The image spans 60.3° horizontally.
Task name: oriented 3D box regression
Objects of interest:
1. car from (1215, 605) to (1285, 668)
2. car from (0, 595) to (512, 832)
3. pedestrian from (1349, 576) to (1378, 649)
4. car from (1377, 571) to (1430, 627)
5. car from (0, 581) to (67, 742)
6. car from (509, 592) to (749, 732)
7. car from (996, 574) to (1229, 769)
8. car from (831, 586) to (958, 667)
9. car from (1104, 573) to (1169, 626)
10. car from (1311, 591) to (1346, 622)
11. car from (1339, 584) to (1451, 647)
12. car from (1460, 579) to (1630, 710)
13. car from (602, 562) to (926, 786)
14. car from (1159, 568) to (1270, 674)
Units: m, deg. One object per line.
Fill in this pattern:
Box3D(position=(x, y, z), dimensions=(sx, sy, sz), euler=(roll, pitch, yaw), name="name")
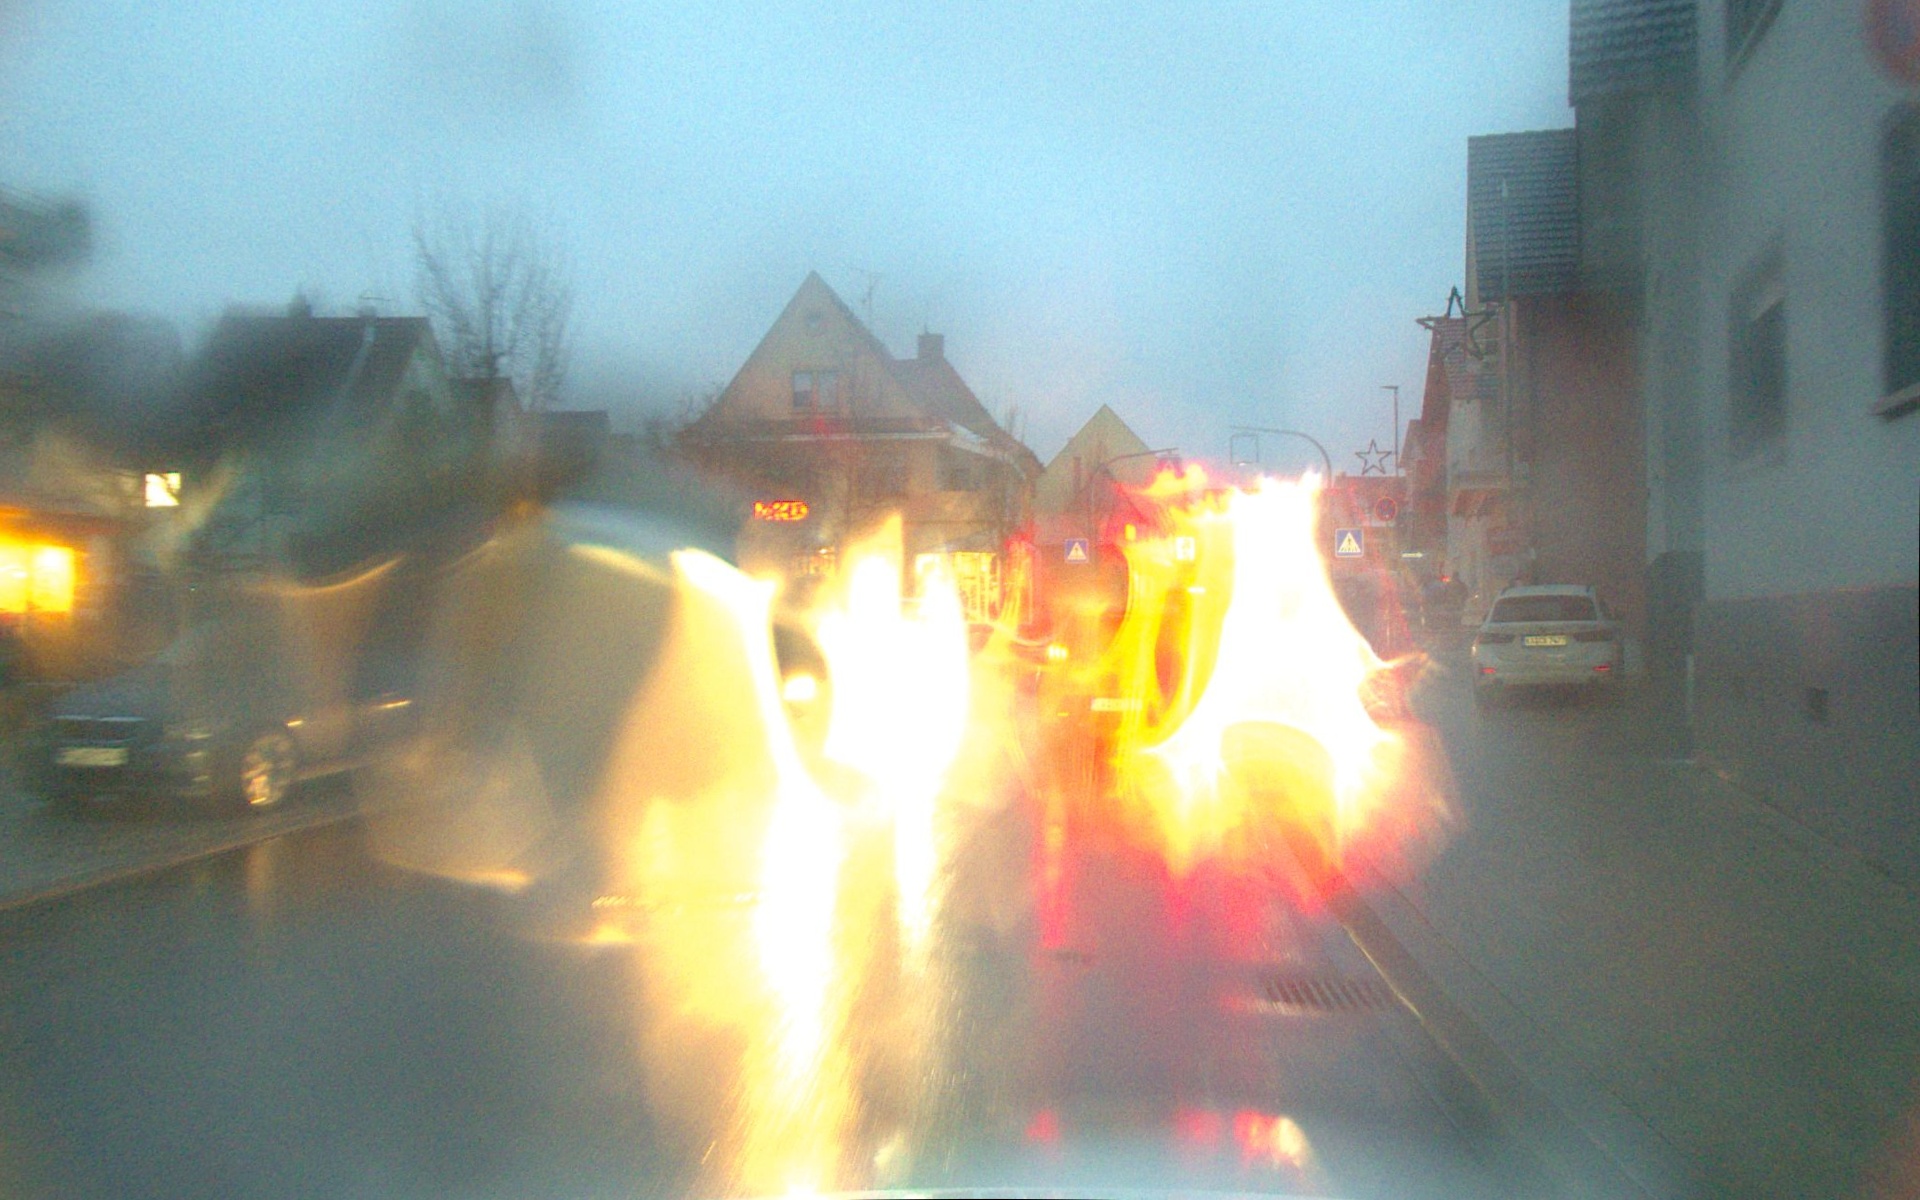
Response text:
Box3D(position=(7.191, 0.876, 40.917), dimensions=(1.614, 1.467, 3.870), euler=(-1, 0, 10), name="car")
Box3D(position=(-5.309, 0.721, 12.940), dimensions=(1.709, 1.498, 4.462), euler=(1, 0, 10), name="car")
Box3D(position=(10.717, 0.335, 43.935), dimensions=(0.649, 1.921, 0.824), euler=(0, -1, 19), name="pedestrian")
Box3D(position=(17.344, -0.046, 64.760), dimensions=(1.606, 2.049, 4.004), euler=(-2, 0, 10), name="car")
Box3D(position=(-10.797, 0.636, 16.483), dimensions=(4.006, 1.503, 1.733), euler=(-2, 0, 36), name="car")
Box3D(position=(-3.978, 0.692, 20.499), dimensions=(1.656, 1.543, 3.776), euler=(1, 0, 9), name="car")
Box3D(position=(1.801, 0.647, 17.932), dimensions=(1.951, 1.827, 4.652), euler=(-1, 1, 12), name="car")
Box3D(position=(-1.288, 0.509, 34.152), dimensions=(1.634, 1.543, 4.003), euler=(1, 0, 12), name="car")
Box3D(position=(7.093, -0.028, 66.163), dimensions=(1.951, 2.049, 4.365), euler=(0, 0, 14), name="car")
Box3D(position=(17.825, 0.298, 80.040), dimensions=(1.502, 1.267, 3.650), euler=(-5, 0, 13), name="car")
Box3D(position=(14.750, 0.505, 56.073), dimensions=(3.619, 2.049, 1.690), euler=(1, -1, 16), name="car")
Box3D(position=(7.752, 0.518, 21.740), dimensions=(1.845, 1.492, 4.543), euler=(-2, 0, 22), name="car")
Box3D(position=(-1.727, 0.610, 16.412), dimensions=(2.095, 1.893, 4.746), euler=(0, 0, 7), name="car")
Box3D(position=(4.457, 0.346, 28.615), dimensions=(1.759, 1.691, 4.003), euler=(0, 0, 11), name="car")
